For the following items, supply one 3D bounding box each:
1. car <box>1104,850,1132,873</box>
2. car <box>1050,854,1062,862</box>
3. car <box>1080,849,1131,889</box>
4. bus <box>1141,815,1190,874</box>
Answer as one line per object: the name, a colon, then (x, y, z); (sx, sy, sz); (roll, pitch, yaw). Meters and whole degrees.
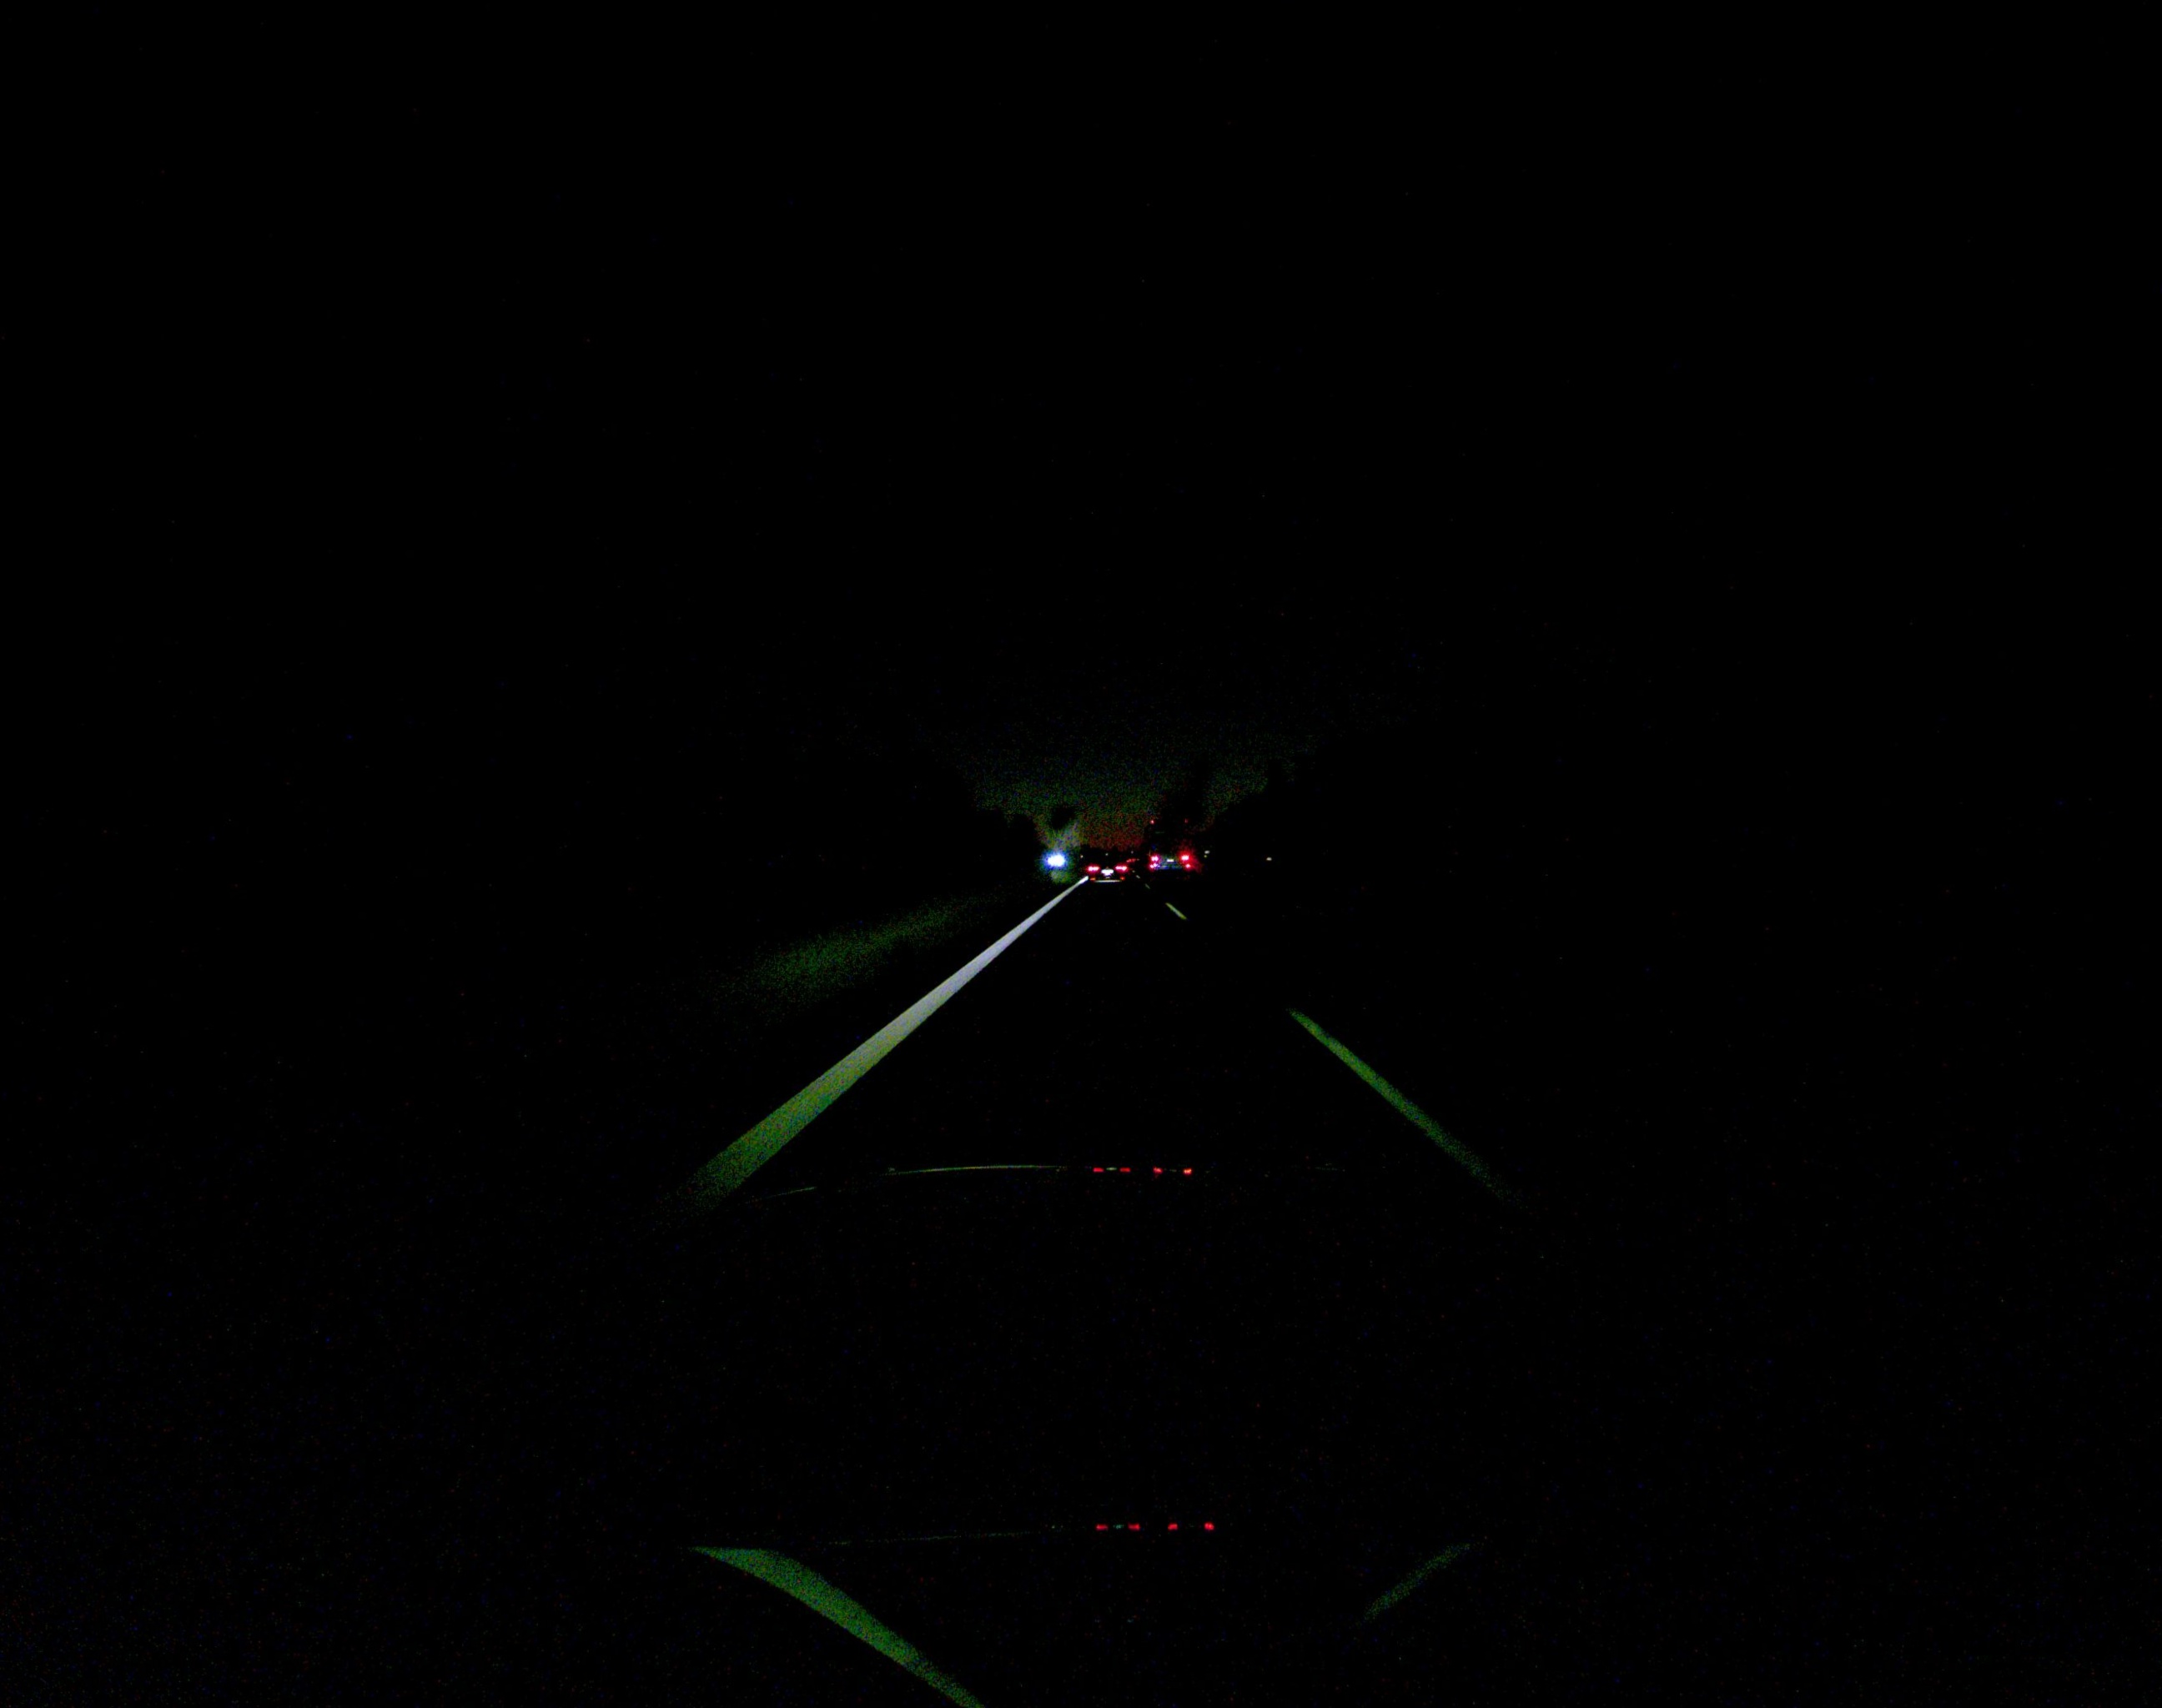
car: (2.941, 0.656, 65.431); (1.905, 1.730, 3.998); (2, -1, -1)
car: (-4.963, 0.770, 162.296); (1.926, 1.561, 4.455); (-1, 0, 2)
car: (1.098, 0.682, 37.124); (2.098, 1.618, 4.205); (-3, -1, 1)
bus: (6.450, -0.551, 64.113); (2.642, 3.994, 14.706); (-3, -1, 2)
